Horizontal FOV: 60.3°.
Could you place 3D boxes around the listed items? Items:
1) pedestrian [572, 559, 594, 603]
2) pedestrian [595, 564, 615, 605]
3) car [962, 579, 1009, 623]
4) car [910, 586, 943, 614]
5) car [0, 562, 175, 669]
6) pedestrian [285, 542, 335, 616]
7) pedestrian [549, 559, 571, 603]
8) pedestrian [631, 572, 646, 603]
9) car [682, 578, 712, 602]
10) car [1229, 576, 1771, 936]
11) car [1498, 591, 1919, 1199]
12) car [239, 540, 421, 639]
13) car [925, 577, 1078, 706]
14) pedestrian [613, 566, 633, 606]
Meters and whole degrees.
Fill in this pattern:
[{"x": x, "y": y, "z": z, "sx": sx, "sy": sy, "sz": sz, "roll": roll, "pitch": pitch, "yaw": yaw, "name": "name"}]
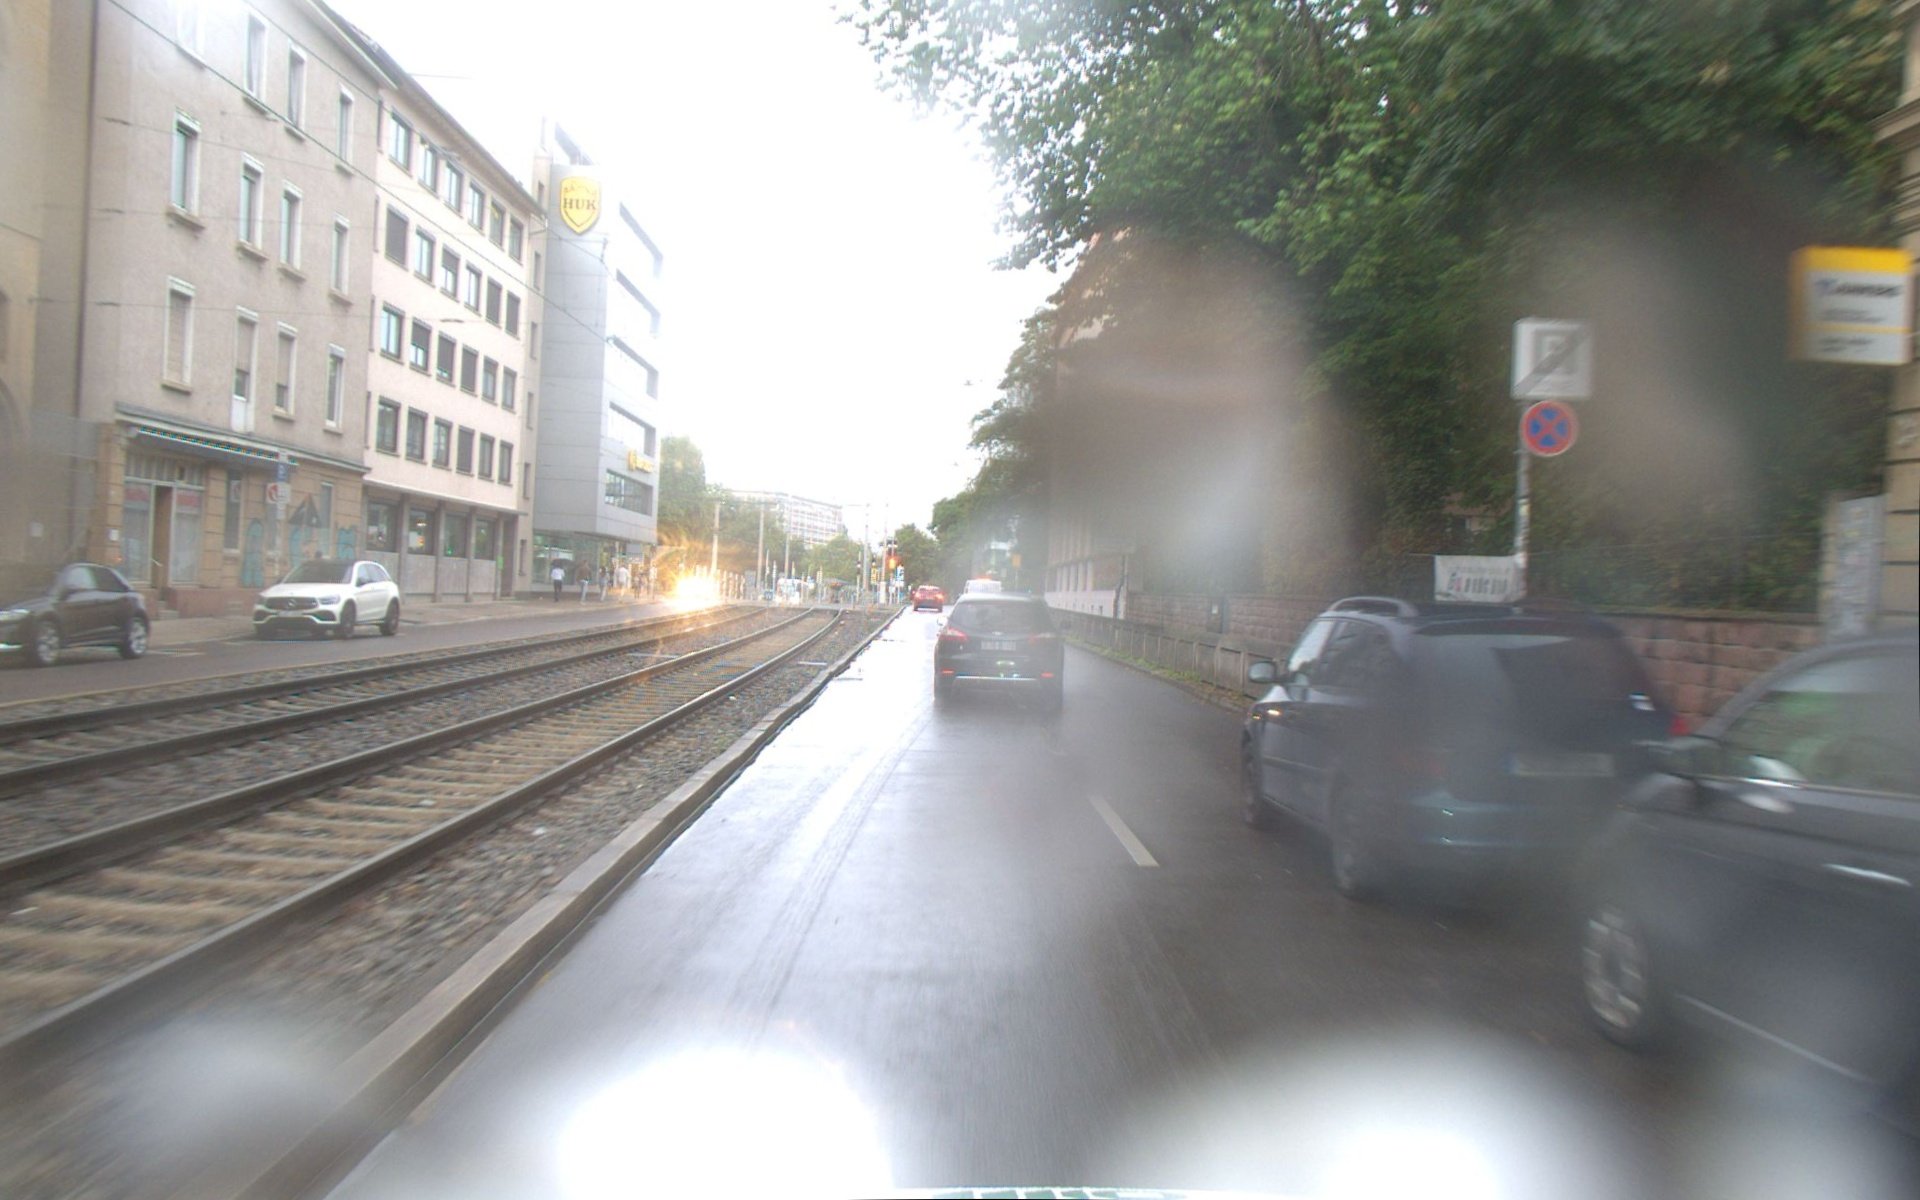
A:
[{"x": -16.769, "y": -0.829, "z": 73.603, "sx": 0.729, "sy": 1.886, "sz": 0.838, "roll": 2, "pitch": -2, "yaw": -2, "name": "pedestrian"}, {"x": -17.176, "y": -0.743, "z": 80.041, "sx": 0.729, "sy": 1.886, "sz": 0.838, "roll": 2, "pitch": -2, "yaw": -2, "name": "pedestrian"}, {"x": 1.107, "y": 0.070, "z": 74.406, "sx": 1.953, "sy": 1.848, "sz": 4.270, "roll": 2, "pitch": -1, "yaw": -1, "name": "car"}, {"x": -2.069, "y": 0.021, "z": 103.513, "sx": 1.953, "sy": 1.622, "sz": 4.270, "roll": 2, "pitch": -1, "yaw": -1, "name": "car"}, {"x": -13.453, "y": 0.181, "z": 24.140, "sx": 1.953, "sy": 1.400, "sz": 4.237, "roll": 3, "pitch": 0, "yaw": -1, "name": "car"}, {"x": -16.259, "y": -0.523, "z": 41.404, "sx": 0.785, "sy": 1.781, "sz": 0.984, "roll": 3, "pitch": -1, "yaw": -2, "name": "pedestrian"}, {"x": -17.779, "y": -0.849, "z": 73.592, "sx": 0.729, "sy": 1.886, "sz": 0.838, "roll": 2, "pitch": -2, "yaw": -2, "name": "pedestrian"}, {"x": -20.466, "y": -0.801, "z": 105.206, "sx": 0.729, "sy": 1.886, "sz": 0.838, "roll": 2, "pitch": -2, "yaw": -2, "name": "pedestrian"}, {"x": -18.071, "y": -0.695, "z": 113.681, "sx": 1.957, "sy": 1.467, "sz": 3.992, "roll": 3, "pitch": 0, "yaw": -9, "name": "car"}, {"x": 2.764, "y": 0.691, "z": 9.454, "sx": 1.610, "sy": 1.542, "sz": 4.037, "roll": 3, "pitch": 0, "yaw": -2, "name": "car"}, {"x": 3.168, "y": 0.775, "z": 4.870, "sx": 1.704, "sy": 1.515, "sz": 3.999, "roll": 3, "pitch": 0, "yaw": -2, "name": "car"}, {"x": -13.524, "y": -0.197, "z": 35.868, "sx": 1.953, "sy": 1.871, "sz": 5.070, "roll": 3, "pitch": 0, "yaw": -1, "name": "car"}, {"x": 0.529, "y": 0.584, "z": 23.863, "sx": 1.953, "sy": 1.622, "sz": 4.270, "roll": 2, "pitch": -1, "yaw": -1, "name": "car"}, {"x": -16.300, "y": -0.667, "z": 80.098, "sx": 0.729, "sy": 1.886, "sz": 0.838, "roll": 2, "pitch": -2, "yaw": -2, "name": "pedestrian"}]
